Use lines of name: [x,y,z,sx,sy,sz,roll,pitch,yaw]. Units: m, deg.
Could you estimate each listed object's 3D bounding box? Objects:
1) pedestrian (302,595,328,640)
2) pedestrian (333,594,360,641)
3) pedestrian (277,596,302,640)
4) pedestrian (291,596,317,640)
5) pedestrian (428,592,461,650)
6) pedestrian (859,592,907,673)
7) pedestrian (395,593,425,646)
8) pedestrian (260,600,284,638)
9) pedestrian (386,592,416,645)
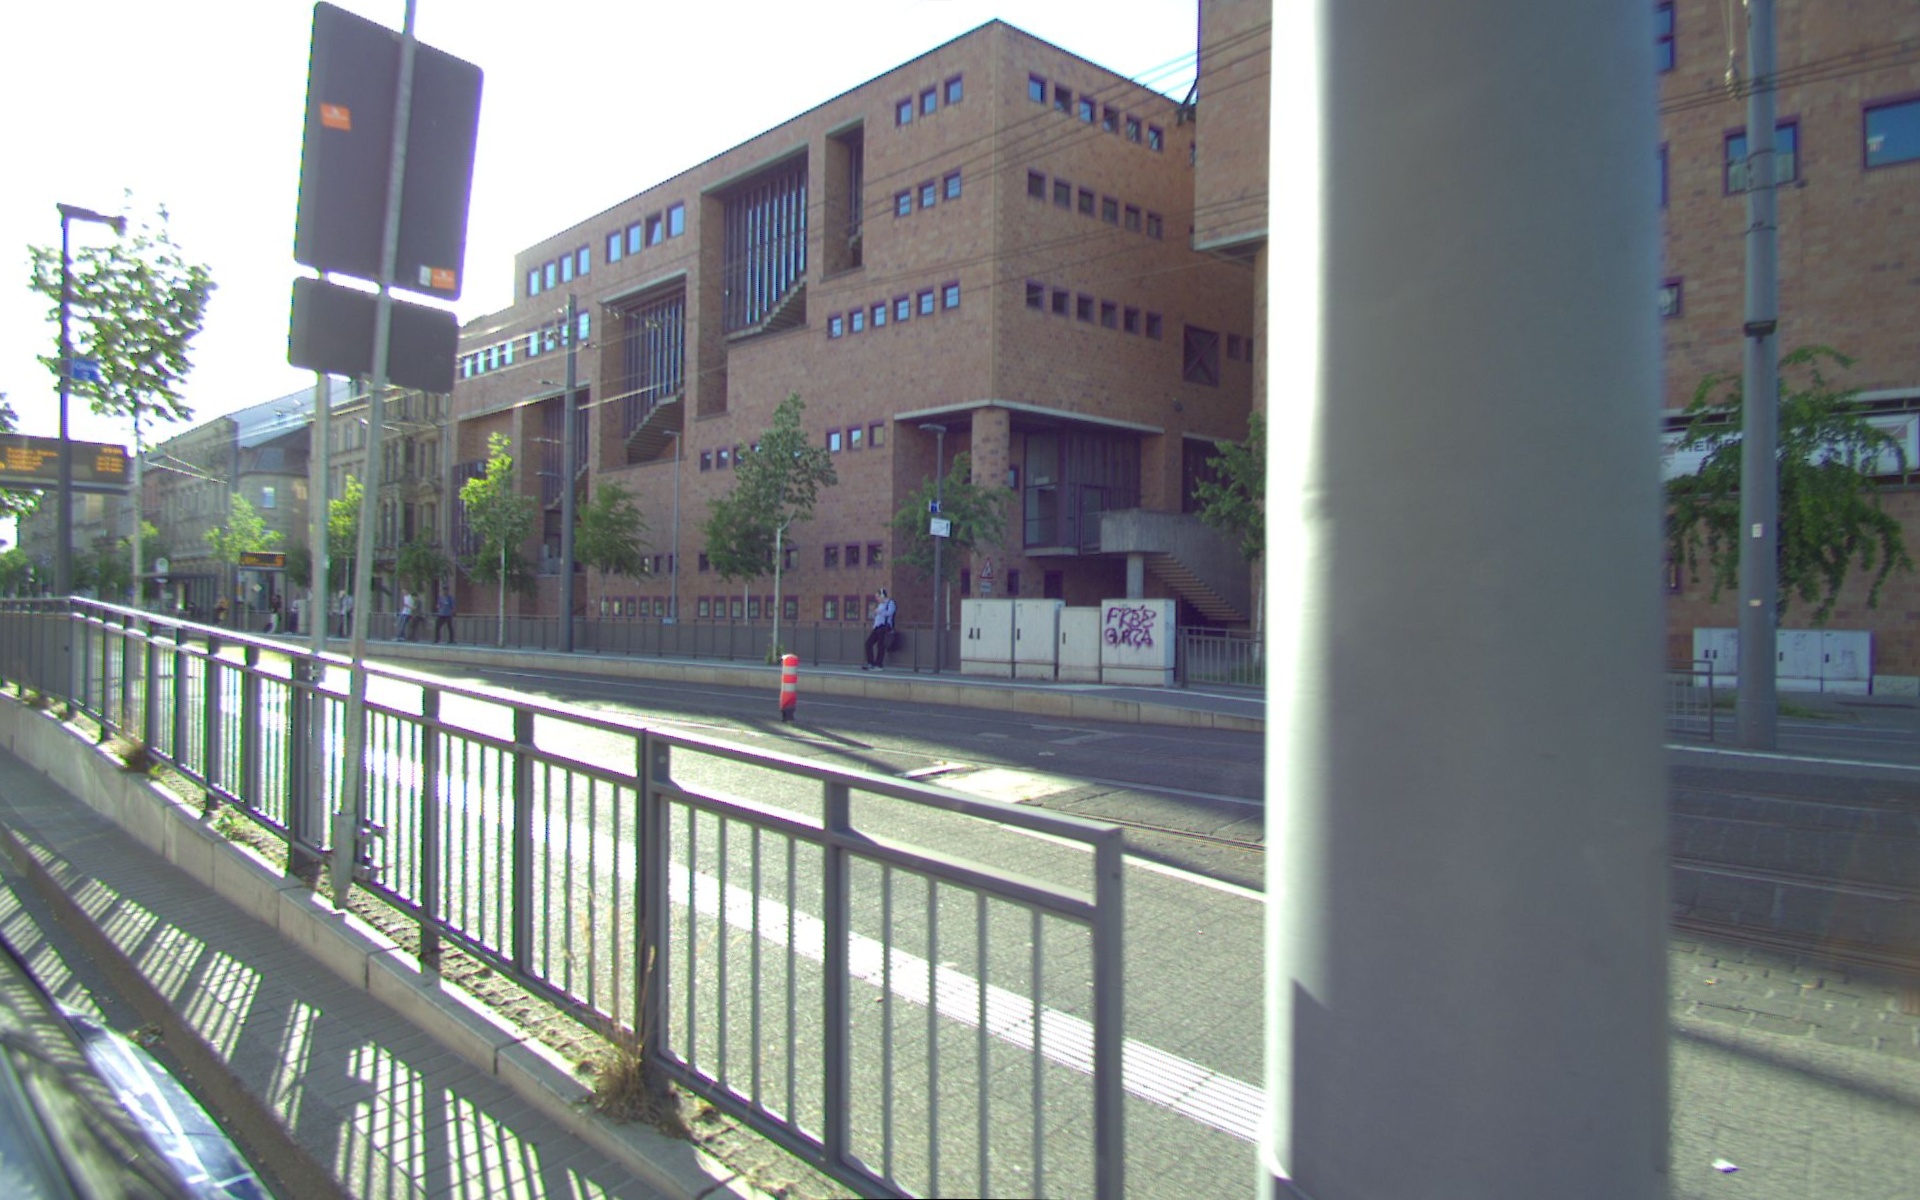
pedestrian: [-25.141,0.691,39.458,0.585,1.755,0.684,-1,-2,38]
pedestrian: [-22.977,0.660,37.902,0.585,1.755,0.684,-1,-2,38]
pedestrian: [-27.279,0.735,41.184,0.585,1.755,0.684,-1,-2,38]
pedestrian: [-26.188,0.719,40.400,0.585,1.755,0.684,-1,-2,38]
pedestrian: [-15.673,0.634,30.766,0.585,1.755,0.684,-1,-2,38]
pedestrian: [-1.503,0.632,19.778,0.653,1.546,0.693,-1,-2,38]
pedestrian: [-18.321,0.659,33.729,0.585,1.755,0.684,-1,-2,38]
pedestrian: [-29.215,0.808,42.999,0.585,1.587,0.684,-1,-2,38]
pedestrian: [-18.834,0.631,34.118,0.585,1.755,0.684,-1,-2,38]
